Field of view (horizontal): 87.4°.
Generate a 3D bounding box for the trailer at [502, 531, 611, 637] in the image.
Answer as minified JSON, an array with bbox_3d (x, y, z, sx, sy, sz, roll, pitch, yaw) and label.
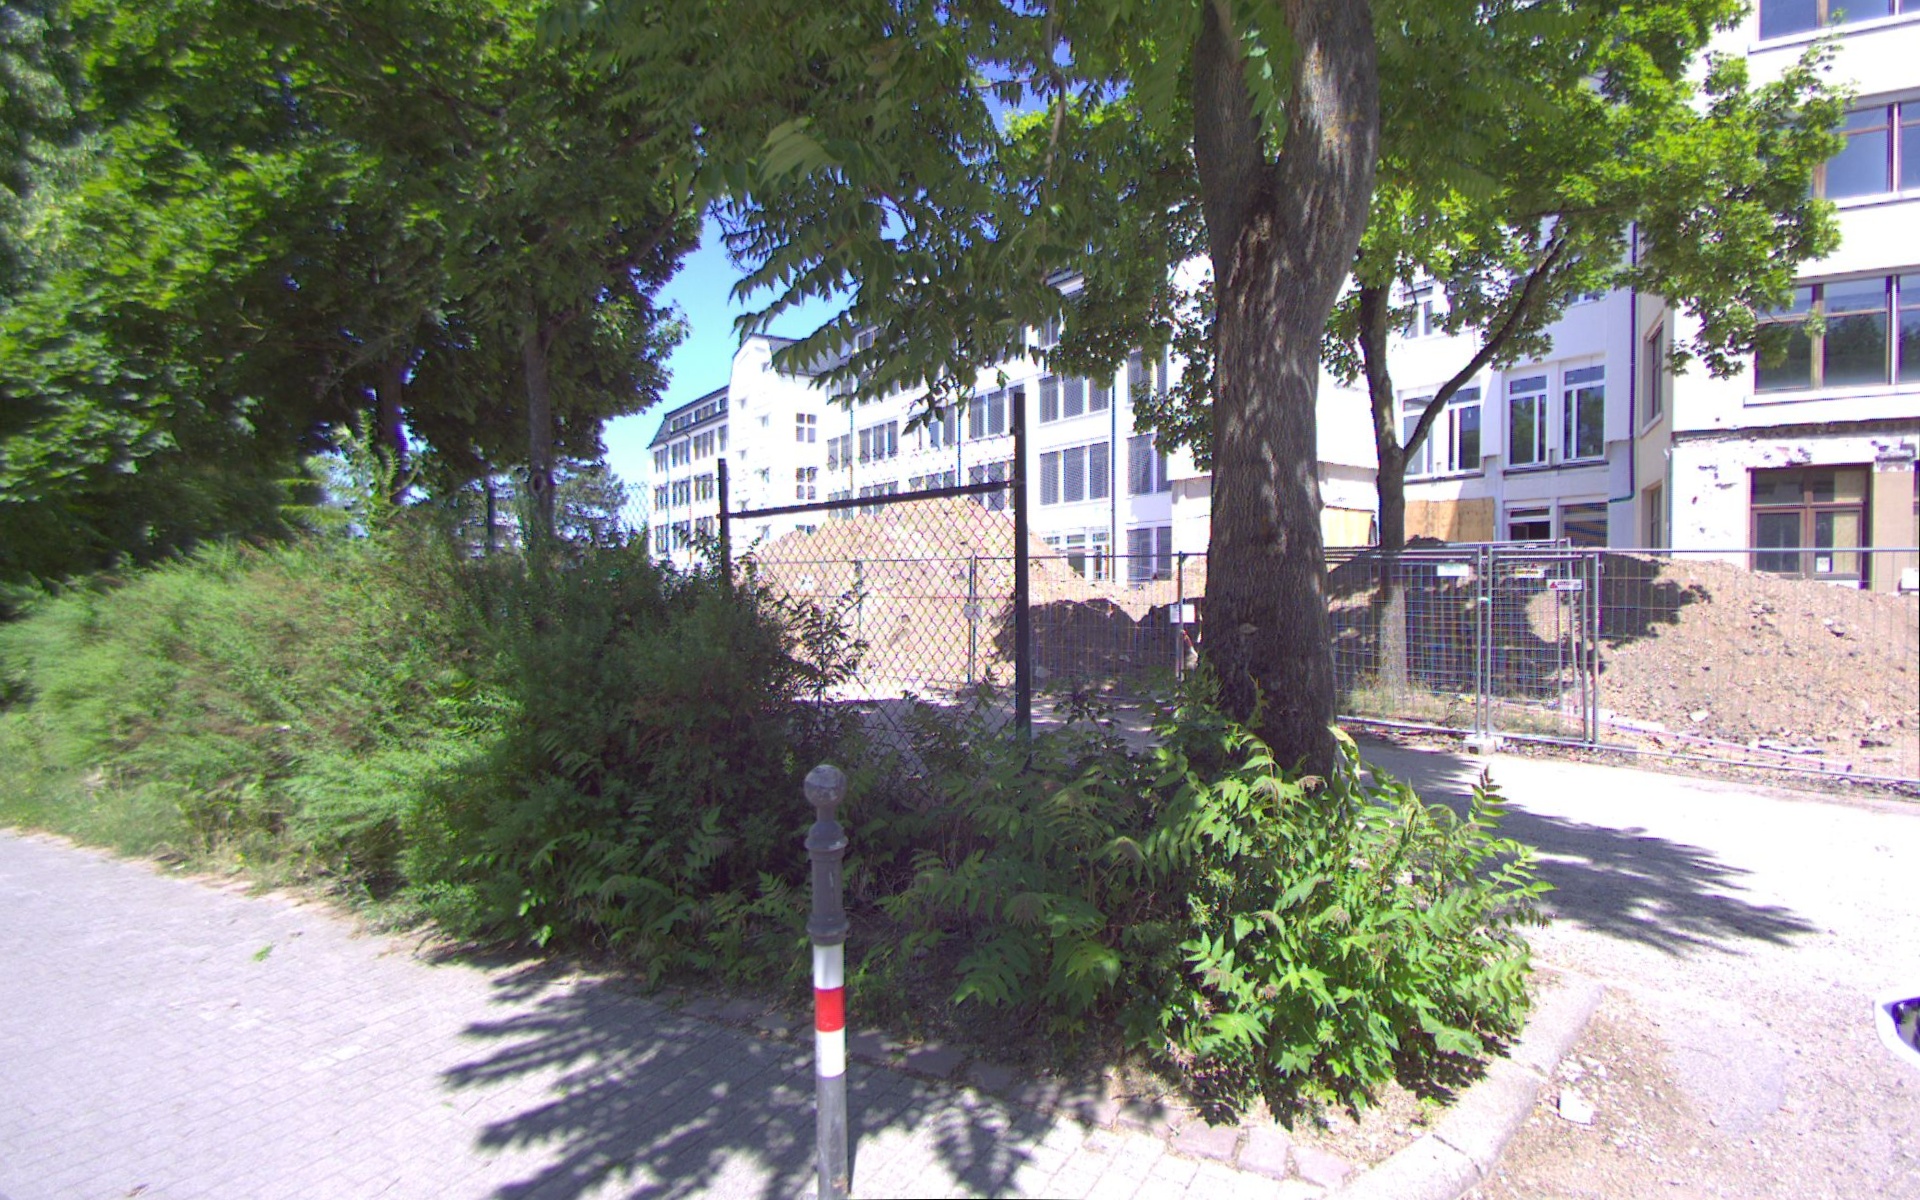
[{"bbox_3d":[-15.131,-0.537,37.226,3.003,3.467,8.710,1,0,-27],"label":"trailer"}]
